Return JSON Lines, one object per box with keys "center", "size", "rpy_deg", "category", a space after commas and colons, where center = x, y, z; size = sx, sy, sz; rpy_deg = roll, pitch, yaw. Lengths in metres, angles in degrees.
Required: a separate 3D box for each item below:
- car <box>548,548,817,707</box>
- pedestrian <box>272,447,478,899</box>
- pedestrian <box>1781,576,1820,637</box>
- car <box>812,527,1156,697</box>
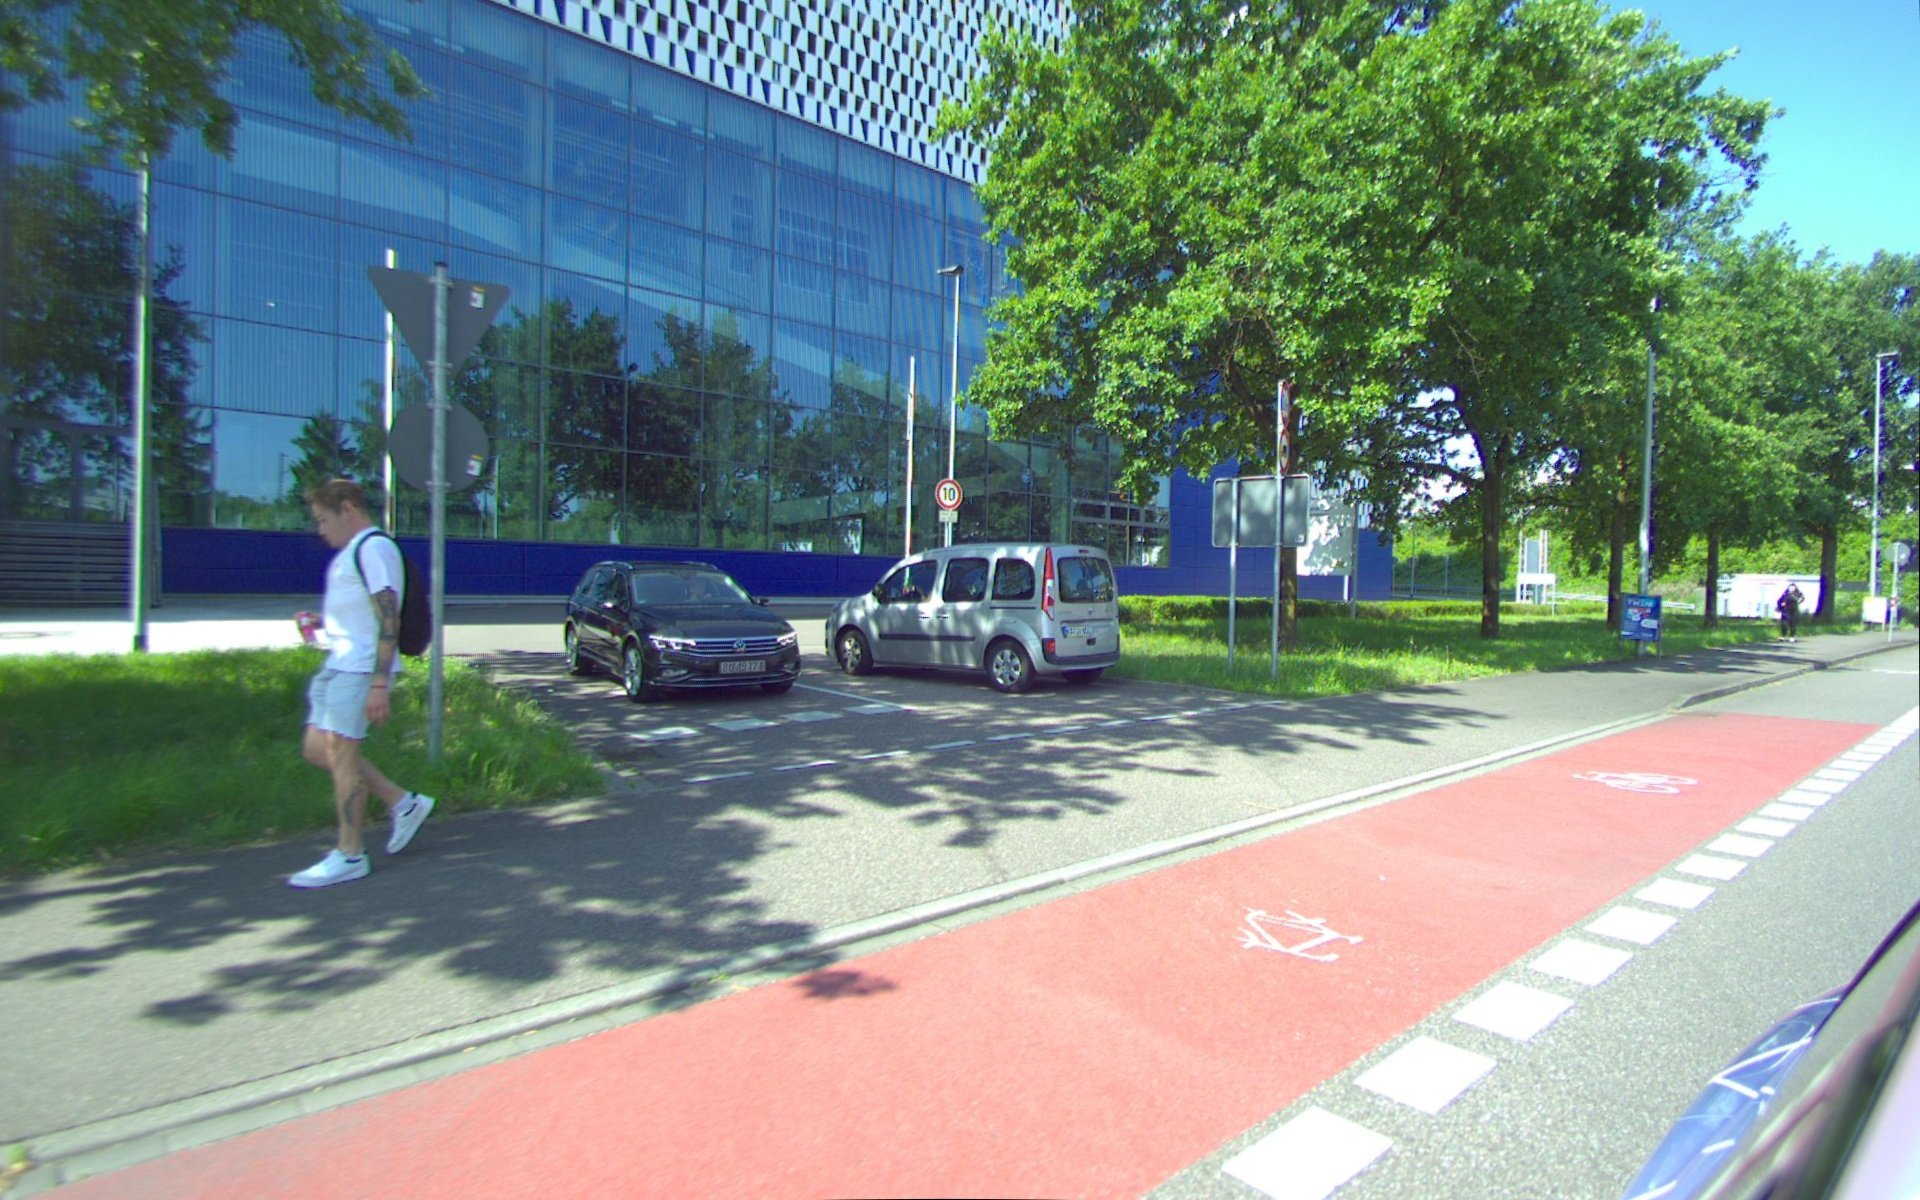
{"center": [-3.513, 0.194, 12.163], "size": [1.874, 1.539, 4.377], "rpy_deg": [0, 2, -33], "category": "car"}
{"center": [-2.659, 0.294, 4.604], "size": [0.715, 1.864, 0.536], "rpy_deg": [0, 1, -41], "category": "pedestrian"}
{"center": [23.062, 0.173, 27.763], "size": [0.831, 1.623, 0.648], "rpy_deg": [0, 1, -40], "category": "pedestrian"}
{"center": [0.214, 0.053, 13.096], "size": [4.159, 1.851, 1.885], "rpy_deg": [2, 2, 39], "category": "car"}
